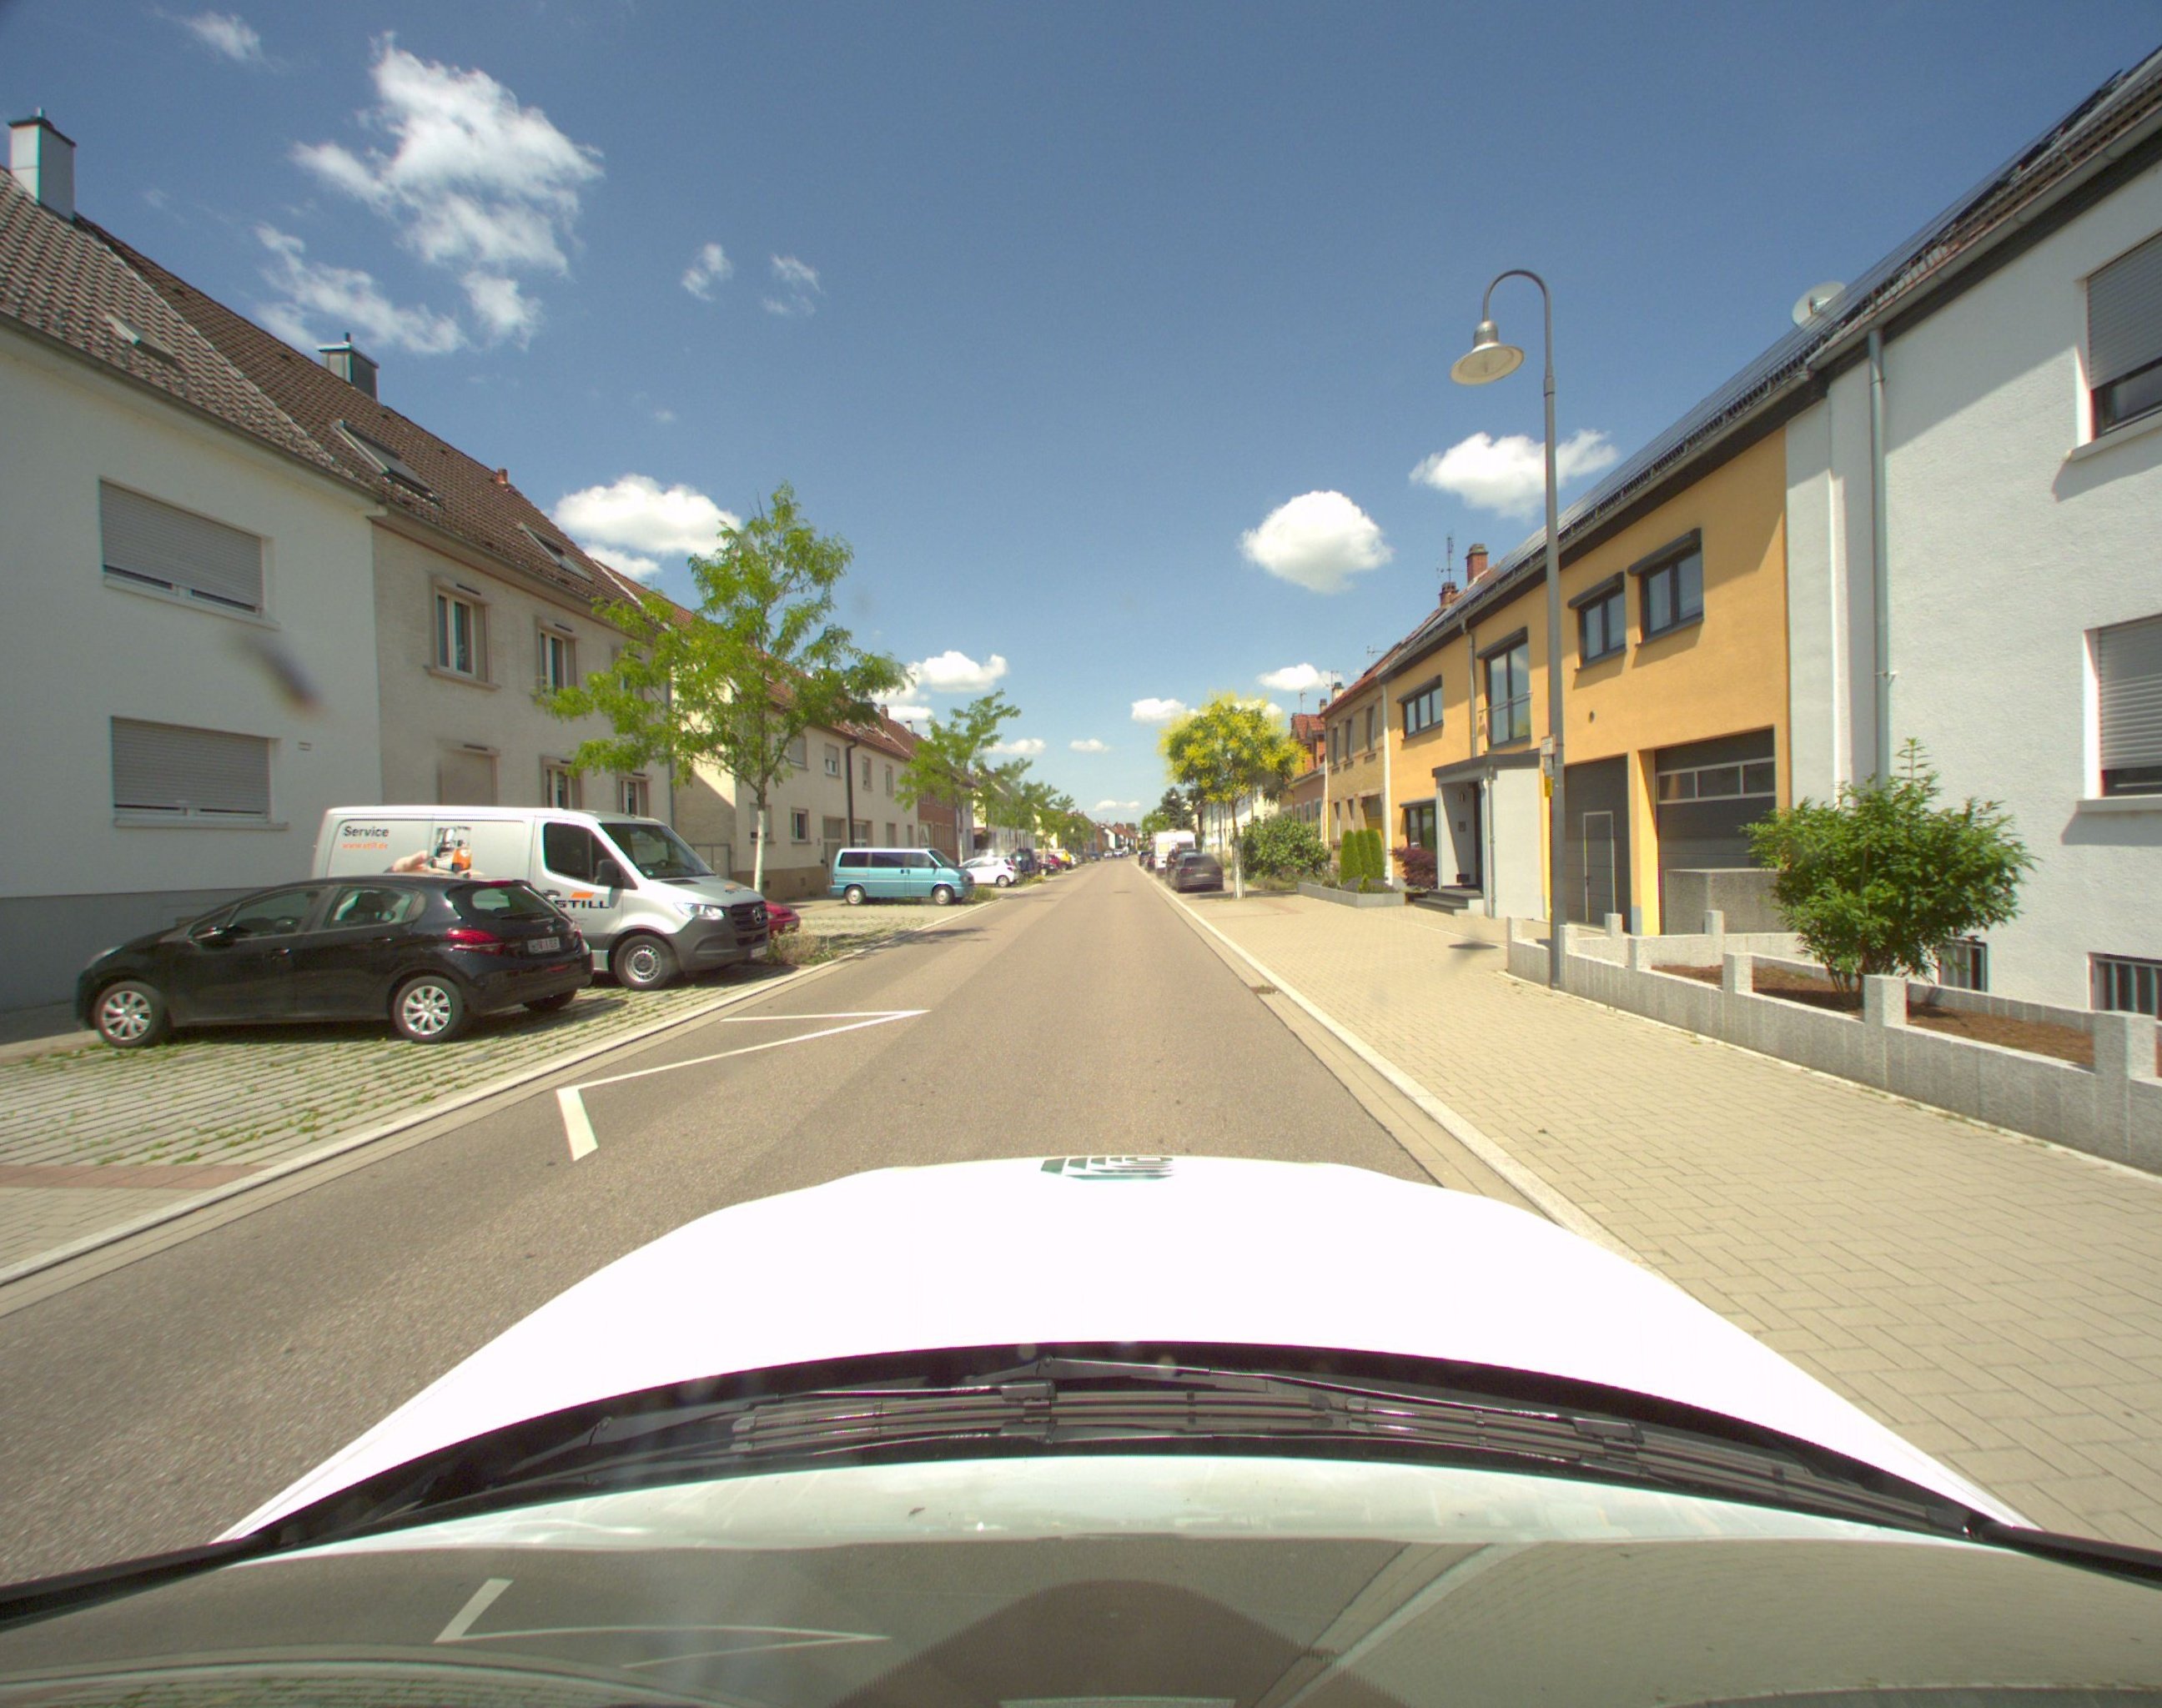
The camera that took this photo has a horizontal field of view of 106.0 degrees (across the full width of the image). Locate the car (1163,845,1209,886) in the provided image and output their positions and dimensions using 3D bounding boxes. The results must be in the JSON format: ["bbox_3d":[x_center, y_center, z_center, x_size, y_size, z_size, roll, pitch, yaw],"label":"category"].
[{"bbox_3d":[4.732,0.487,37.159,1.759,1.705,4.328,-2,0,3],"label":"car"}]

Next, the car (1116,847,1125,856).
[{"bbox_3d":[8.948,-0.580,185.102,2.015,1.950,4.900,-2,-1,2],"label":"car"}]

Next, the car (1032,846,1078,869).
[{"bbox_3d":[-2.568,0.329,81.651,4.490,2.177,1.926,-1,0,2],"label":"car"}]

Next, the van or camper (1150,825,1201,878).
[{"bbox_3d":[5.469,-0.150,47.786,2.463,2.810,5.794,-3,0,3],"label":"van or camper"}]

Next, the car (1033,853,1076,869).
[{"bbox_3d":[-2.560,0.676,79.205,3.993,1.459,1.756,-1,0,2],"label":"car"}]

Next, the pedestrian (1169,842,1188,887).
[{"bbox_3d":[4.125,0.443,34.556,0.713,1.853,0.578,-2,0,3],"label":"pedestrian"}]

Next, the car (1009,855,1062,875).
[{"bbox_3d":[-3.604,0.829,64.456,4.040,1.478,1.775,-1,0,0],"label":"car"}]

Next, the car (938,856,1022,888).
[{"bbox_3d":[-5.078,0.887,41.145,3.898,1.488,1.775,-1,0,4],"label":"car"}]

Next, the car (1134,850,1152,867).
[{"bbox_3d":[6.852,0.496,89.976,1.855,1.635,4.453,-4,0,5],"label":"car"}]

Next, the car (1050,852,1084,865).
[{"bbox_3d":[-1.772,0.616,101.127,4.171,1.568,1.773,0,-1,-1],"label":"car"}]

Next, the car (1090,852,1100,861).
[{"bbox_3d":[2.600,0.396,148.839,1.810,1.433,4.140,2,1,0],"label":"car"}]

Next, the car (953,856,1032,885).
[{"bbox_3d":[-4.731,0.877,43.843,3.898,1.488,1.775,-1,0,4],"label":"car"}]

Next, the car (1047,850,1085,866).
[{"bbox_3d":[-1.842,0.531,103.891,4.681,1.923,1.939,0,-1,2],"label":"car"}]

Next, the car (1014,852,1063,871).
[{"bbox_3d":[-3.814,0.686,73.830,4.237,1.611,1.844,-1,0,2],"label":"car"}]

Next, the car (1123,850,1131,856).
[{"bbox_3d":[11.968,-0.265,212.678,1.756,1.522,4.051,-4,0,2],"label":"car"}]

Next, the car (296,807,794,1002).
[{"bbox_3d":[-6.792,0.603,10.813,5.148,2.288,2.157,0,0,0],"label":"car"}]

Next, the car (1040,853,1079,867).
[{"bbox_3d":[-2.476,0.681,94.265,4.275,1.468,1.776,-1,-1,4],"label":"car"}]

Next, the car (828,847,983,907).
[{"bbox_3d":[-5.776,0.741,27.210,4.657,1.907,2.002,0,-1,3],"label":"car"}]

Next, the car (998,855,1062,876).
[{"bbox_3d":[-3.778,0.852,60.699,4.506,1.425,1.797,-1,0,2],"label":"car"}]

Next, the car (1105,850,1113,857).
[{"bbox_3d":[6.803,-0.127,197.660,1.841,1.659,4.006,0,0,6],"label":"car"}]

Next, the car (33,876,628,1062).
[{"bbox_3d":[-6.977,1.014,7.952,3.974,1.445,1.901,-1,0,0],"label":"car"}]

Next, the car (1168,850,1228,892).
[{"bbox_3d":[4.484,0.610,31.696,1.760,1.488,4.297,-2,0,1],"label":"car"}]

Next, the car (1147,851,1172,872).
[{"bbox_3d":[5.998,0.549,62.435,1.759,1.529,4.011,-2,0,3],"label":"car"}]

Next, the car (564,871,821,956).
[{"bbox_3d":[-6.848,1.033,14.619,3.767,1.385,1.727,0,-1,3],"label":"car"}]

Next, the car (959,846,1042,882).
[{"bbox_3d":[-4.714,0.570,48.280,4.592,1.996,1.955,-1,0,4],"label":"car"}]
